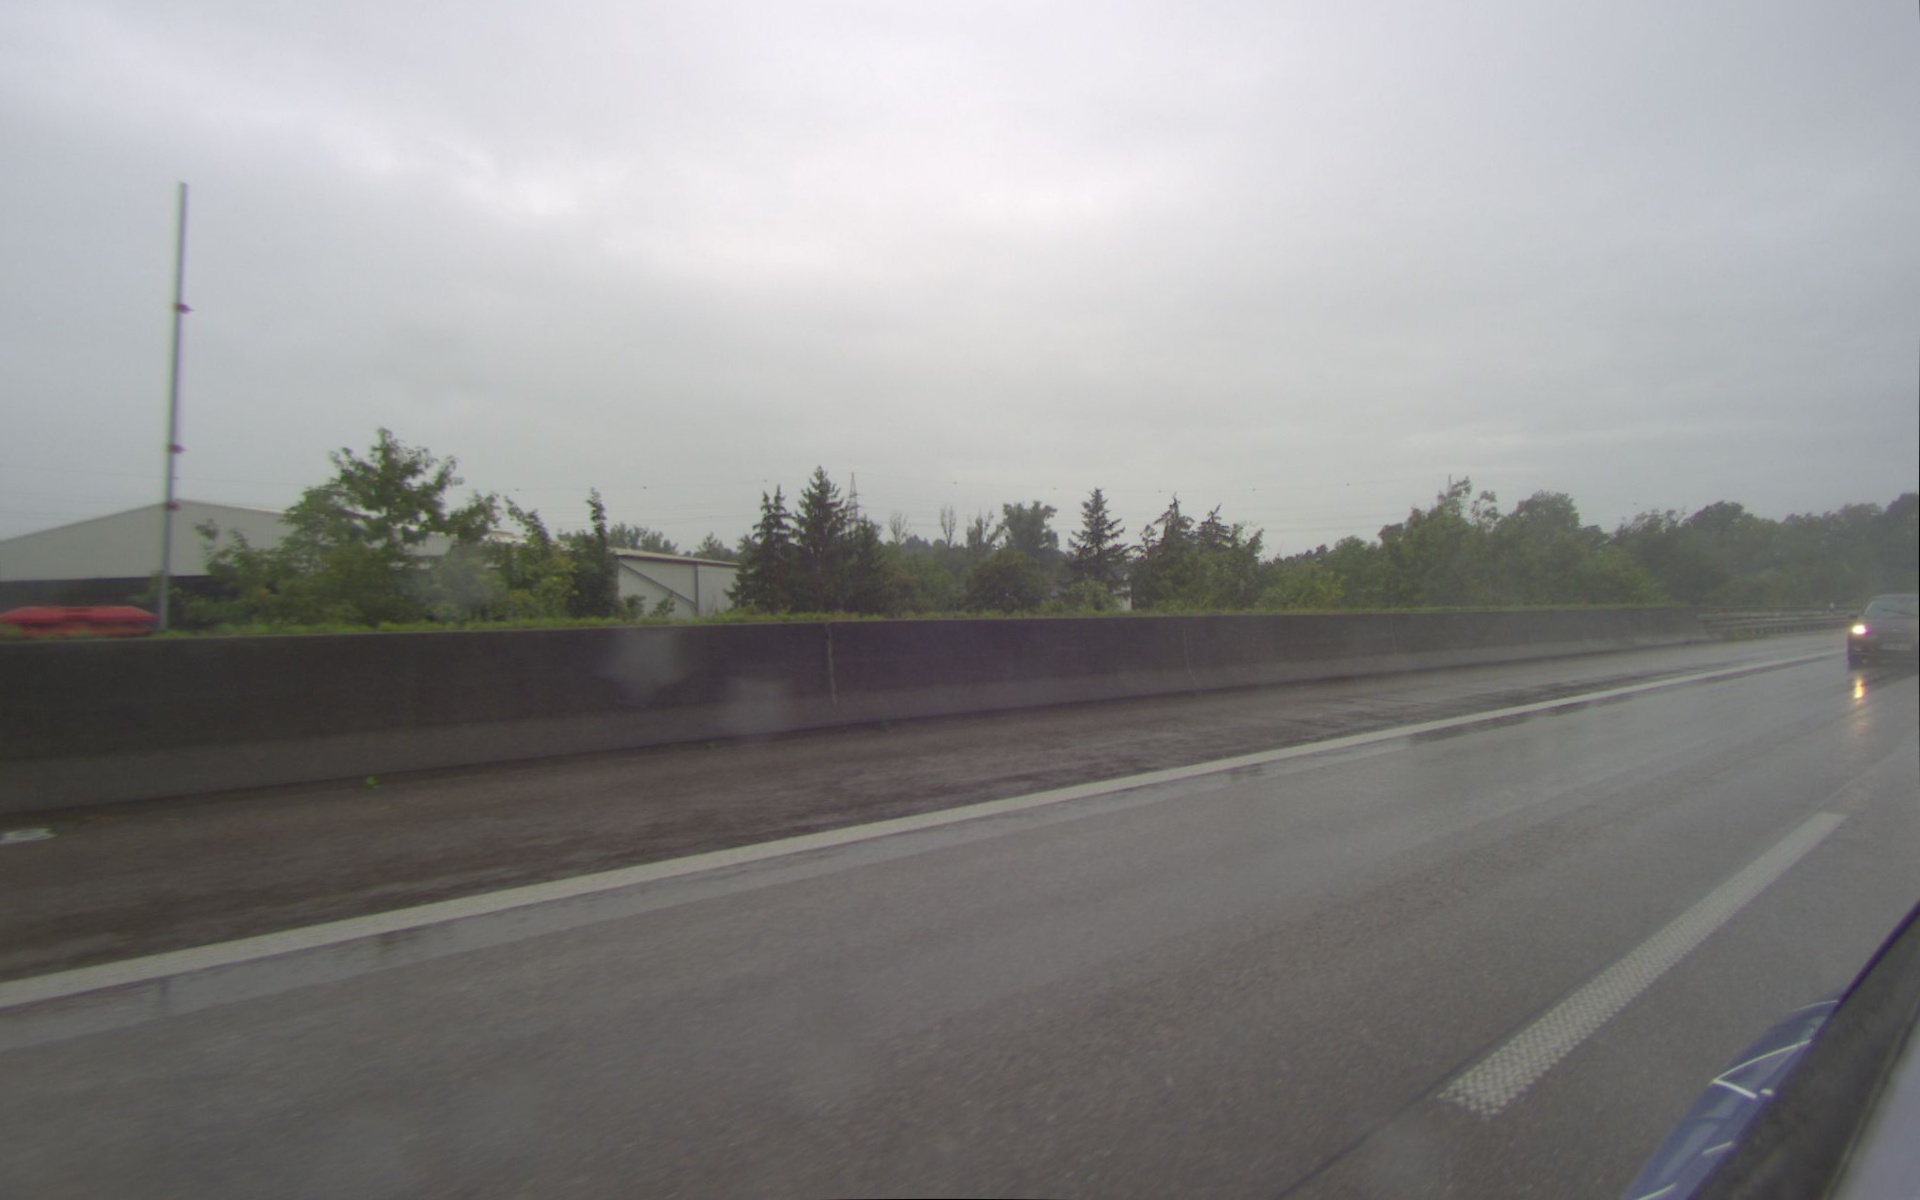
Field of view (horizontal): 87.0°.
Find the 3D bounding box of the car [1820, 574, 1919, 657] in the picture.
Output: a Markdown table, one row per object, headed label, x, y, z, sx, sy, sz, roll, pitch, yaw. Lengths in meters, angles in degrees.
| label | x | y | z | sx | sy | sz | roll | pitch | yaw |
| --- | --- | --- | --- | --- | --- | --- | --- | --- | --- |
| car | 22.135 | 0.320 | 23.404 | 5.616 | 1.768 | 2.463 | 0 | 0 | -39 |
